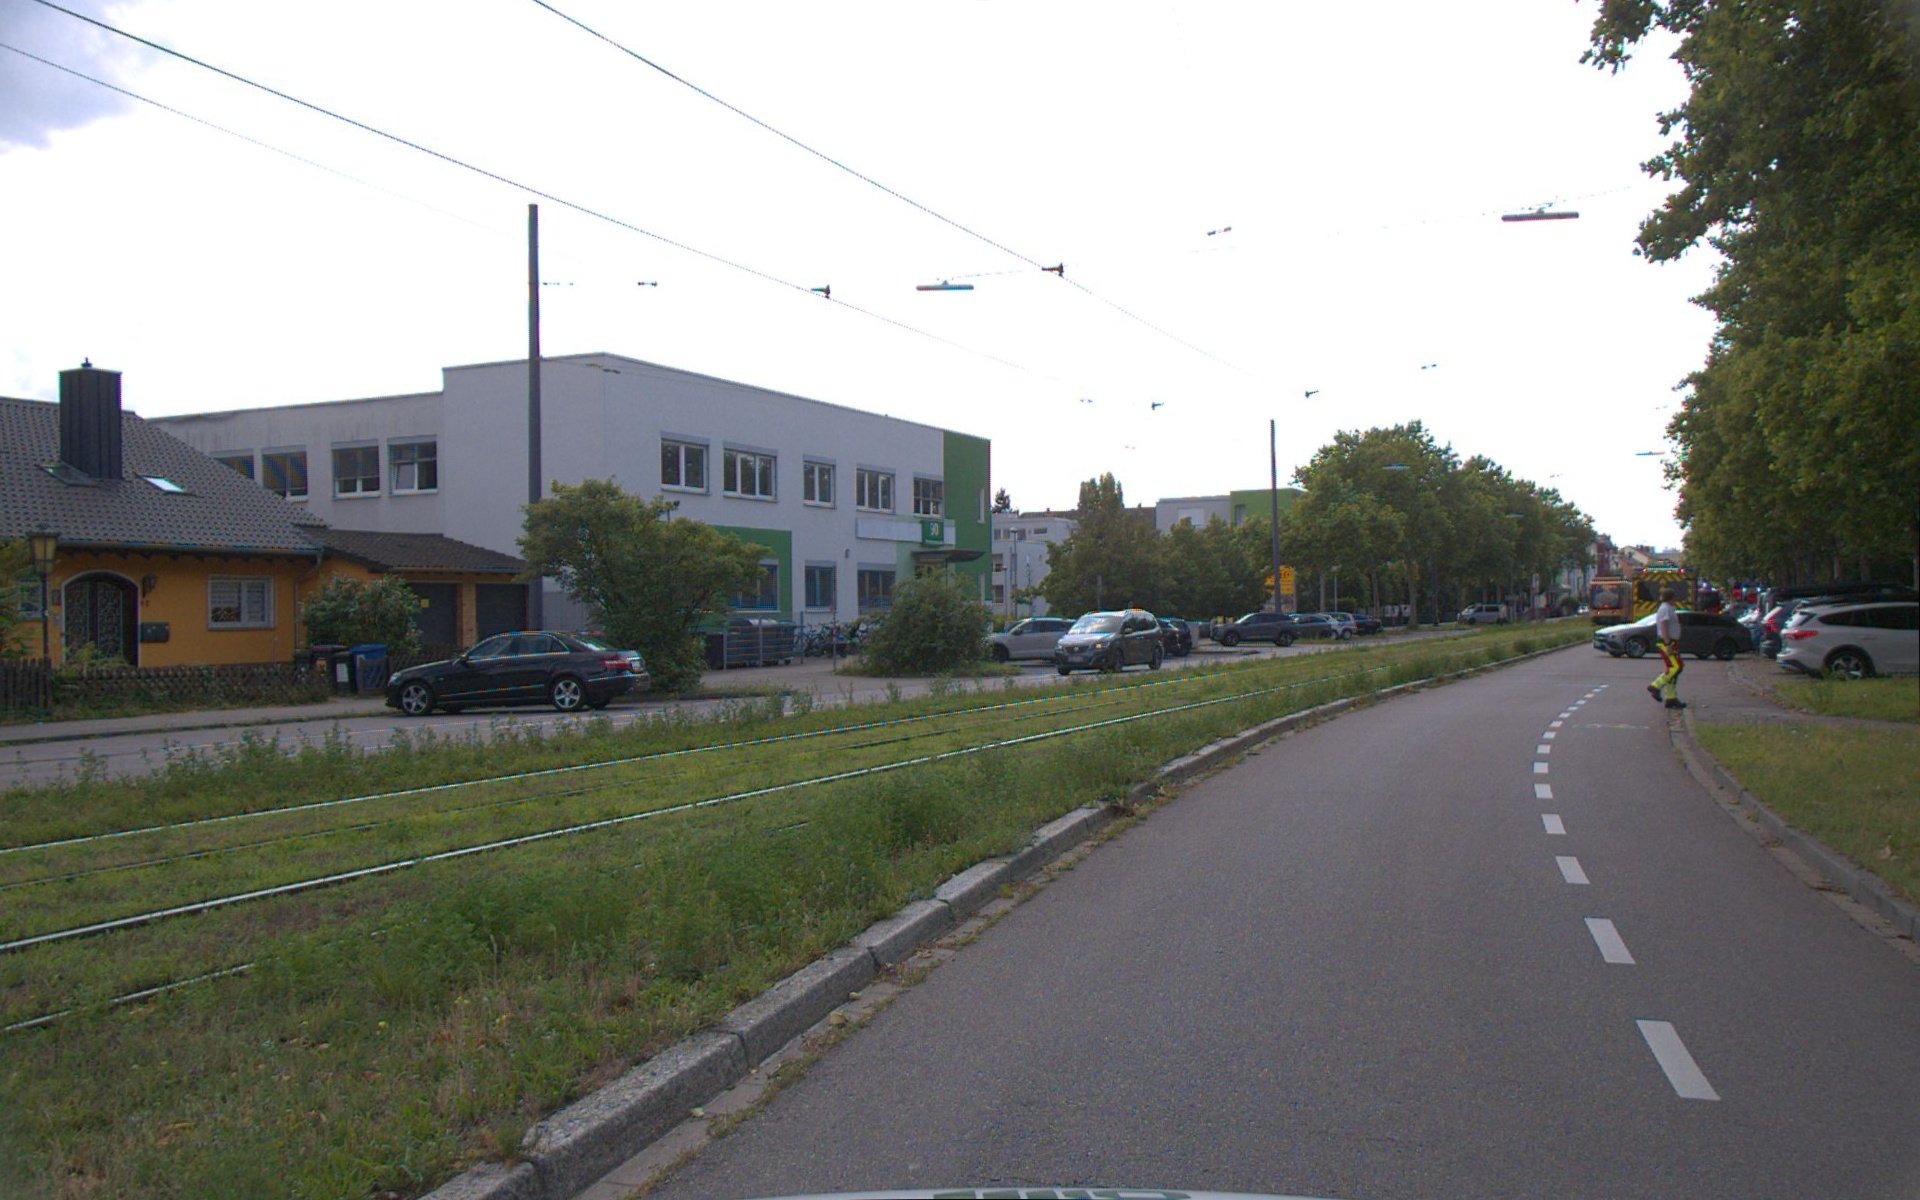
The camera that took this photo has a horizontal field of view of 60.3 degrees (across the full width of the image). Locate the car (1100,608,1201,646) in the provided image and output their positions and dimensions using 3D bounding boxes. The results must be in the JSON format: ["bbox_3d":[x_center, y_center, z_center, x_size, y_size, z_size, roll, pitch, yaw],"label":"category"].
[{"bbox_3d":[7.891,1.125,68.827,4.070,1.530,1.861,0,-1,3],"label":"car"}]

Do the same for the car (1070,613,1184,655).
[{"bbox_3d":[6.318,1.270,62.848,4.073,1.530,1.860,0,-1,-2],"label":"car"}]

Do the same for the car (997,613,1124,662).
[{"bbox_3d":[3.436,1.291,57.319,4.215,1.658,1.901,0,-1,-3],"label":"car"}]

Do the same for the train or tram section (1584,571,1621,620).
[{"bbox_3d":[50.858,-0.345,131.083,2.436,3.659,7.424,-1,0,19],"label":"train or tram section"}]

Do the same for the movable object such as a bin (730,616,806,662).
[{"bbox_3d":[-5.885,1.189,50.900,1.346,1.350,2.128,-1,-1,29],"label":"movable object such as a bin"}]

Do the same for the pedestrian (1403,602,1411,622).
[{"bbox_3d":[38.446,1.038,142.246,0.608,1.759,0.646,1,-1,25],"label":"pedestrian"}]

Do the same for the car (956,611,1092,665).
[{"bbox_3d":[2.078,1.245,54.717,4.220,1.658,1.898,-1,-1,-8],"label":"car"}]

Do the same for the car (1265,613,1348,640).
[{"bbox_3d":[19.076,1.433,91.217,4.211,1.387,1.903,-1,-1,3],"label":"car"}]

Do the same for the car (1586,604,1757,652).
[{"bbox_3d":[21.844,0.862,50.901,4.495,1.418,1.841,-1,0,3],"label":"car"}]

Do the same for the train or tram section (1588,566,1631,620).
[{"bbox_3d":[45.961,-0.485,117.130,2.436,3.659,7.424,-1,0,19],"label":"train or tram section"}]

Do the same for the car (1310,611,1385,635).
[{"bbox_3d":[23.715,1.403,101.330,4.211,1.387,1.903,-1,-1,3],"label":"car"}]

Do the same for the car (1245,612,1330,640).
[{"bbox_3d":[17.478,1.396,88.302,4.211,1.387,1.903,-1,-1,3],"label":"car"}]

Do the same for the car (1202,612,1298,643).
[{"bbox_3d":[13.764,1.288,78.687,4.212,1.387,1.902,-1,-1,1],"label":"car"}]

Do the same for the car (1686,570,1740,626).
[{"bbox_3d":[47.565,-0.107,104.627,2.906,3.388,7.456,1,0,23],"label":"car"}]

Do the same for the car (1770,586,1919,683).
[{"bbox_3d":[17.065,0.615,29.631,4.437,1.673,1.999,-1,-2,23],"label":"car"}]

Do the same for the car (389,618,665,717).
[{"bbox_3d":[-7.926,1.221,30.520,4.468,1.608,2.001,-2,-1,5],"label":"car"}]

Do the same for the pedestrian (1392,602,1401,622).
[{"bbox_3d":[37.454,1.020,142.035,0.608,1.759,0.646,1,-1,25],"label":"pedestrian"}]

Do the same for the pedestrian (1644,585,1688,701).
[{"bbox_3d":[10.587,0.640,24.790,0.574,1.713,0.494,-1,-1,25],"label":"pedestrian"}]

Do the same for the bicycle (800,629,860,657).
[{"bbox_3d":[-4.699,1.541,59.602,2.111,0.987,0.730,-1,-1,29],"label":"bicycle"}]

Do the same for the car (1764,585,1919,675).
[{"bbox_3d":[18.096,0.578,32.002,4.437,1.673,1.999,-1,-2,23],"label":"car"}]

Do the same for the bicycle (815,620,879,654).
[{"bbox_3d":[-4.114,1.352,60.333,2.301,1.186,0.759,-1,-1,31],"label":"bicycle"}]

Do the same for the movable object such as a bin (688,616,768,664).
[{"bbox_3d":[-6.864,1.164,48.944,1.346,1.350,2.114,-1,-1,29],"label":"movable object such as a bin"}]

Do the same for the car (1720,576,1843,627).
[{"bbox_3d":[56.995,0.089,114.950,7.281,3.388,2.975,1,0,20],"label":"car"}]

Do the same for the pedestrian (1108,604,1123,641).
[{"bbox_3d":[7.243,1.035,76.878,0.583,1.704,0.541,-1,-1,16],"label":"pedestrian"}]

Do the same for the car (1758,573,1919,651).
[{"bbox_3d":[24.476,0.354,45.517,4.452,2.049,1.998,-1,-1,26],"label":"car"}]

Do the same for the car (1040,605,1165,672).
[{"bbox_3d":[4.068,1.035,46.502,1.954,1.752,4.737,-1,-1,25],"label":"car"}]

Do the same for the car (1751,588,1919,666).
[{"bbox_3d":[20.118,0.613,36.774,4.437,1.673,1.999,-1,-2,23],"label":"car"}]

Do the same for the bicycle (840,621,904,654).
[{"bbox_3d":[-3.248,1.376,61.183,2.367,1.186,0.746,-1,-1,33],"label":"bicycle"}]

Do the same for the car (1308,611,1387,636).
[{"bbox_3d":[22.637,1.366,96.758,4.211,1.387,1.903,-1,-1,3],"label":"car"}]

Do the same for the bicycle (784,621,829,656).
[{"bbox_3d":[-5.408,1.353,58.243,1.592,1.186,0.701,-2,-1,42],"label":"bicycle"}]

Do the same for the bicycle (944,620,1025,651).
[{"bbox_3d":[0.984,1.442,66.848,3.069,1.186,1.142,-1,-1,21],"label":"bicycle"}]

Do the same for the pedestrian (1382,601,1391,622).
[{"bbox_3d":[36.734,1.010,142.444,0.608,1.759,0.646,1,-1,25],"label":"pedestrian"}]

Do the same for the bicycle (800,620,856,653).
[{"bbox_3d":[-4.522,1.266,56.746,1.755,1.100,0.736,-1,-1,23],"label":"bicycle"}]

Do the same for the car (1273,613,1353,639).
[{"bbox_3d":[19.960,1.458,93.661,4.211,1.387,1.903,-1,-1,3],"label":"car"}]

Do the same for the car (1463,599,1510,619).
[{"bbox_3d":[50.825,0.895,159.777,3.910,1.870,1.819,1,0,-7],"label":"car"}]

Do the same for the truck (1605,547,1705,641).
[{"bbox_3d":[26.903,-0.214,63.853,3.121,3.375,7.516,-1,-1,26],"label":"truck"}]

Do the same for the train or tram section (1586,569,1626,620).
[{"bbox_3d":[48.405,-0.417,124.116,2.436,3.659,7.424,-1,0,19],"label":"train or tram section"}]
